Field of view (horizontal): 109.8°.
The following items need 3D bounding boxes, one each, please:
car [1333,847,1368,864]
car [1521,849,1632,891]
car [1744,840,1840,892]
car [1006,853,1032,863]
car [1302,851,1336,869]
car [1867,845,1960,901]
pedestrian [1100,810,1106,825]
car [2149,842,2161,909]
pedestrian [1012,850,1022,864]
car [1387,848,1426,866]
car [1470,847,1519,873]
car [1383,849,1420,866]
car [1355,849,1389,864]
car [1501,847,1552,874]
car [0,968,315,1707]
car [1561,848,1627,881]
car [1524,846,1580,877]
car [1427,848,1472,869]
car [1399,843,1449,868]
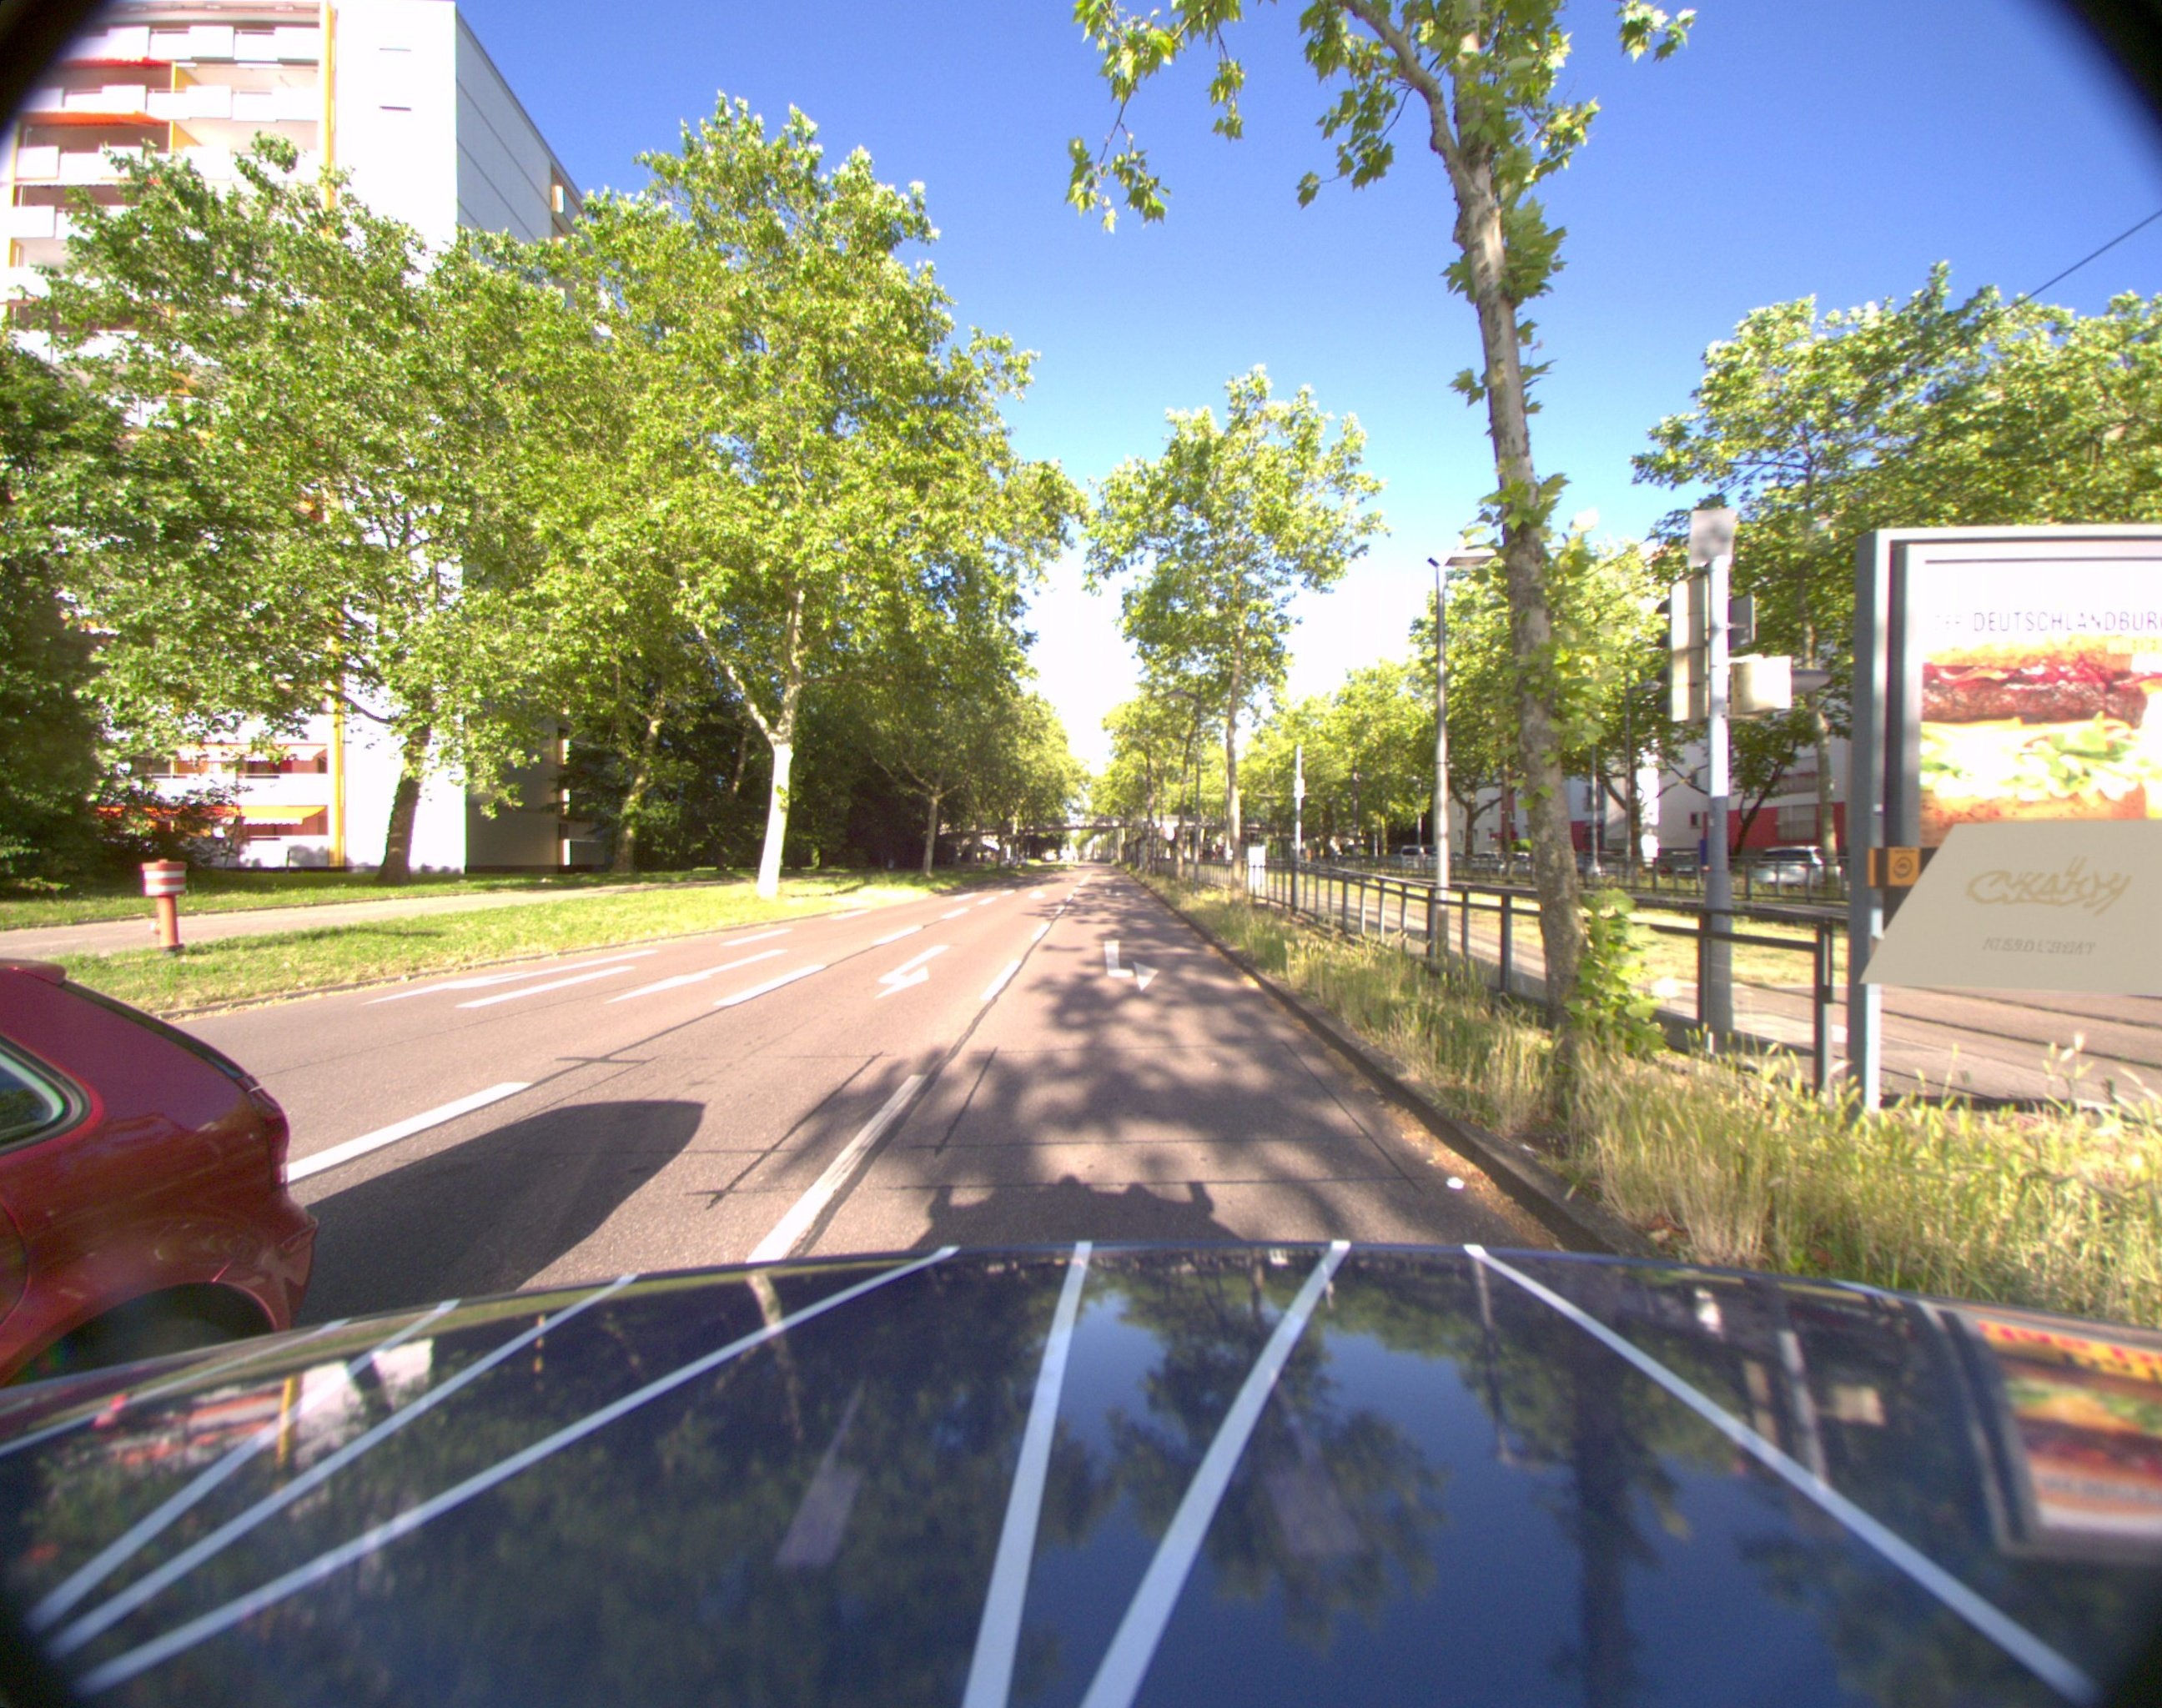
[{"bbox_3d":[26.012,0.104,73.270,3.835,1.561,1.597,-1,1,-43],"label":"car"},{"bbox_3d":[19.519,0.570,30.168,1.810,1.514,4.331,-1,0,4],"label":"car"},{"bbox_3d":[25.223,0.399,26.920,4.007,1.586,1.810,-3,1,-37],"label":"car"},{"bbox_3d":[-9.873,0.631,121.730,3.999,1.465,1.797,-3,1,-8],"label":"car"},{"bbox_3d":[21.013,0.474,67.273,1.769,1.503,4.102,-1,0,1],"label":"car"},{"bbox_3d":[25.238,0.536,22.991,3.770,1.420,1.555,-3,1,-37],"label":"car"},{"bbox_3d":[2.955,-4.916,102.353,0.738,1.873,0.511,-3,1,0],"label":"pedestrian"},{"bbox_3d":[24.664,0.525,16.168,4.007,1.479,1.689,-3,1,-44],"label":"car"},{"bbox_3d":[-9.189,0.462,108.552,0.964,2.002,0.917,-4,1,-41],"label":"pedestrian"},{"bbox_3d":[25.886,0.263,60.355,3.494,1.336,1.476,-1,1,-41],"label":"car"},{"bbox_3d":[25.856,0.370,47.493,3.493,1.417,1.558,-3,-1,-42],"label":"car"},{"bbox_3d":[27.002,0.289,64.053,3.494,1.293,1.476,-1,1,-41],"label":"car"},{"bbox_3d":[26.677,0.245,69.652,3.494,1.312,1.476,-1,1,-41],"label":"car"},{"bbox_3d":[26.158,0.374,44.599,3.493,1.321,1.476,-3,0,-41],"label":"car"},{"bbox_3d":[-2.971,1.066,0.173,1.646,1.430,3.761,-2,1,2],"label":"car"},{"bbox_3d":[25.519,0.513,37.759,3.890,1.406,1.486,-3,1,-37],"label":"car"},{"bbox_3d":[25.652,0.399,41.361,3.402,1.499,1.461,-3,1,-37],"label":"car"},{"bbox_3d":[26.169,0.308,53.864,3.494,1.395,1.623,-1,1,-41],"label":"car"},{"bbox_3d":[25.738,0.080,56.944,4.056,1.802,1.864,-1,1,-40],"label":"car"}]
